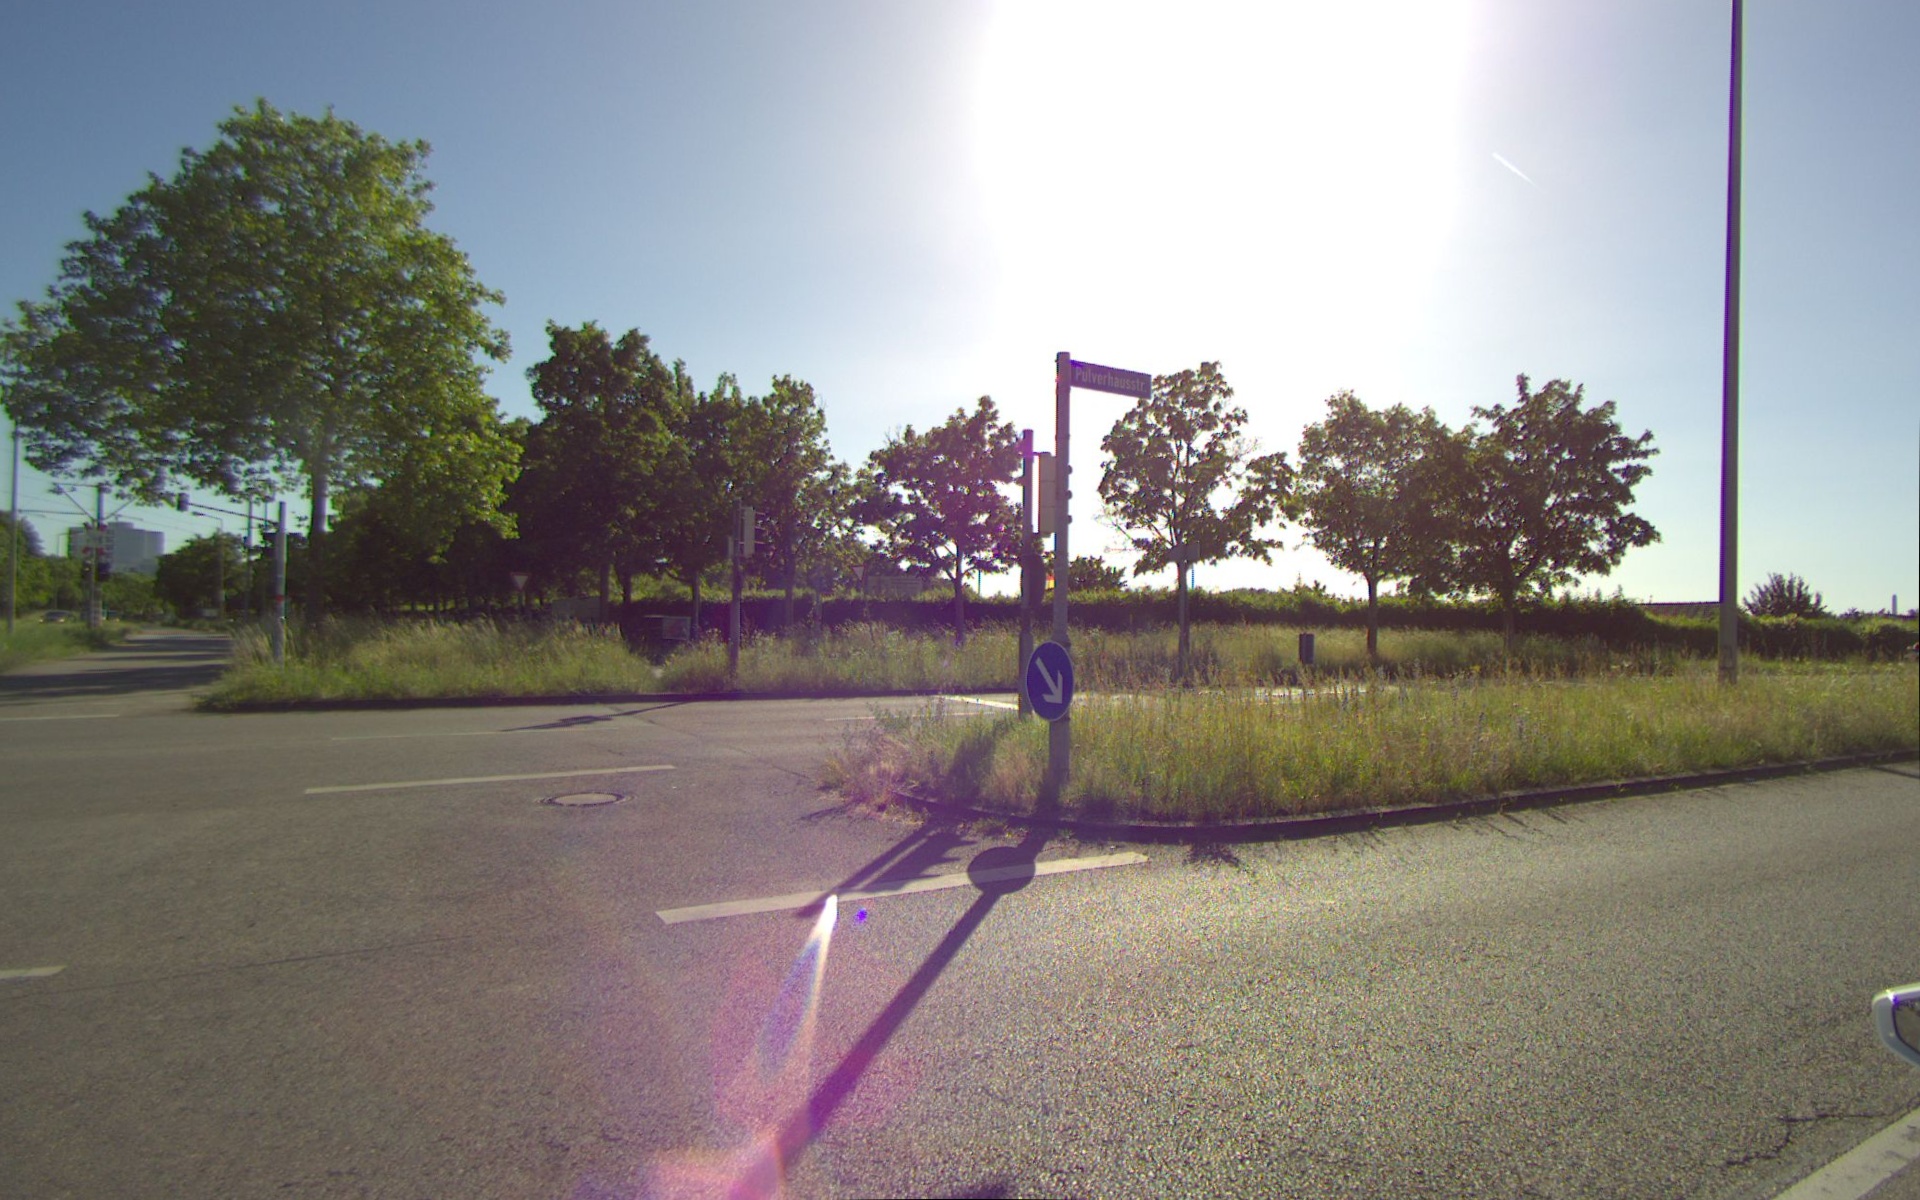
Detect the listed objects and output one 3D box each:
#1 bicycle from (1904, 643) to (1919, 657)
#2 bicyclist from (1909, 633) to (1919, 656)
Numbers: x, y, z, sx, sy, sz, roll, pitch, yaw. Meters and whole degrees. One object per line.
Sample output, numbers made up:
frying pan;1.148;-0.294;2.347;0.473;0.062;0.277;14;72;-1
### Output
bicycle;53.232;2.775;55.706;1.847;0.704;0.564;1;-1;-21
bicyclist;53.110;2.464;55.669;0.567;1.273;0.582;1;-1;-20
